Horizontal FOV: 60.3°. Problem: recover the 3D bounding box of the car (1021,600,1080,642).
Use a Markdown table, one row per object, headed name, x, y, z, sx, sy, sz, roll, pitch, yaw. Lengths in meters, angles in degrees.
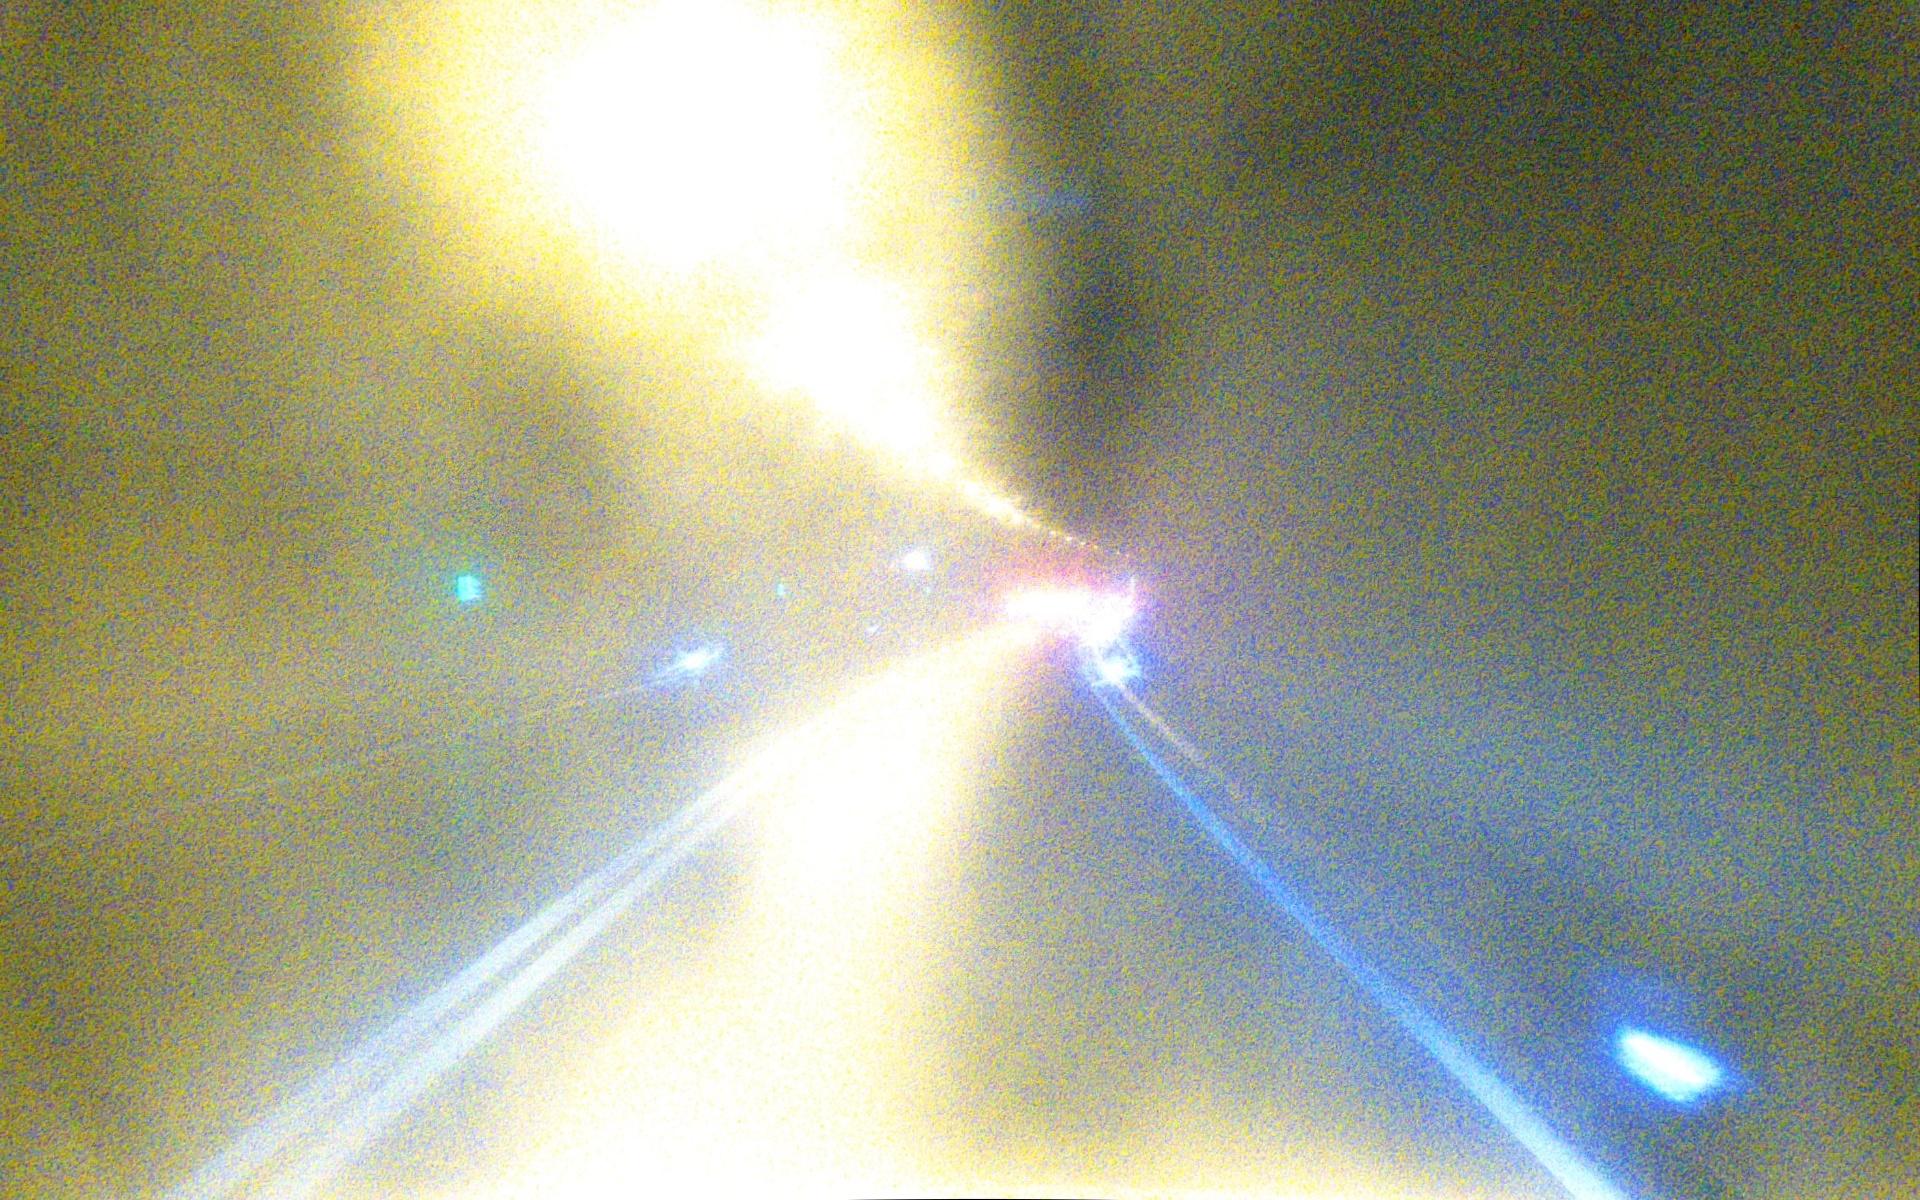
| name | x | y | z | sx | sy | sz | roll | pitch | yaw |
| --- | --- | --- | --- | --- | --- | --- | --- | --- | --- |
| car | 3.870 | 0.897 | 70.169 | 2.045 | 1.691 | 4.003 | 1 | 0 | 9 |
